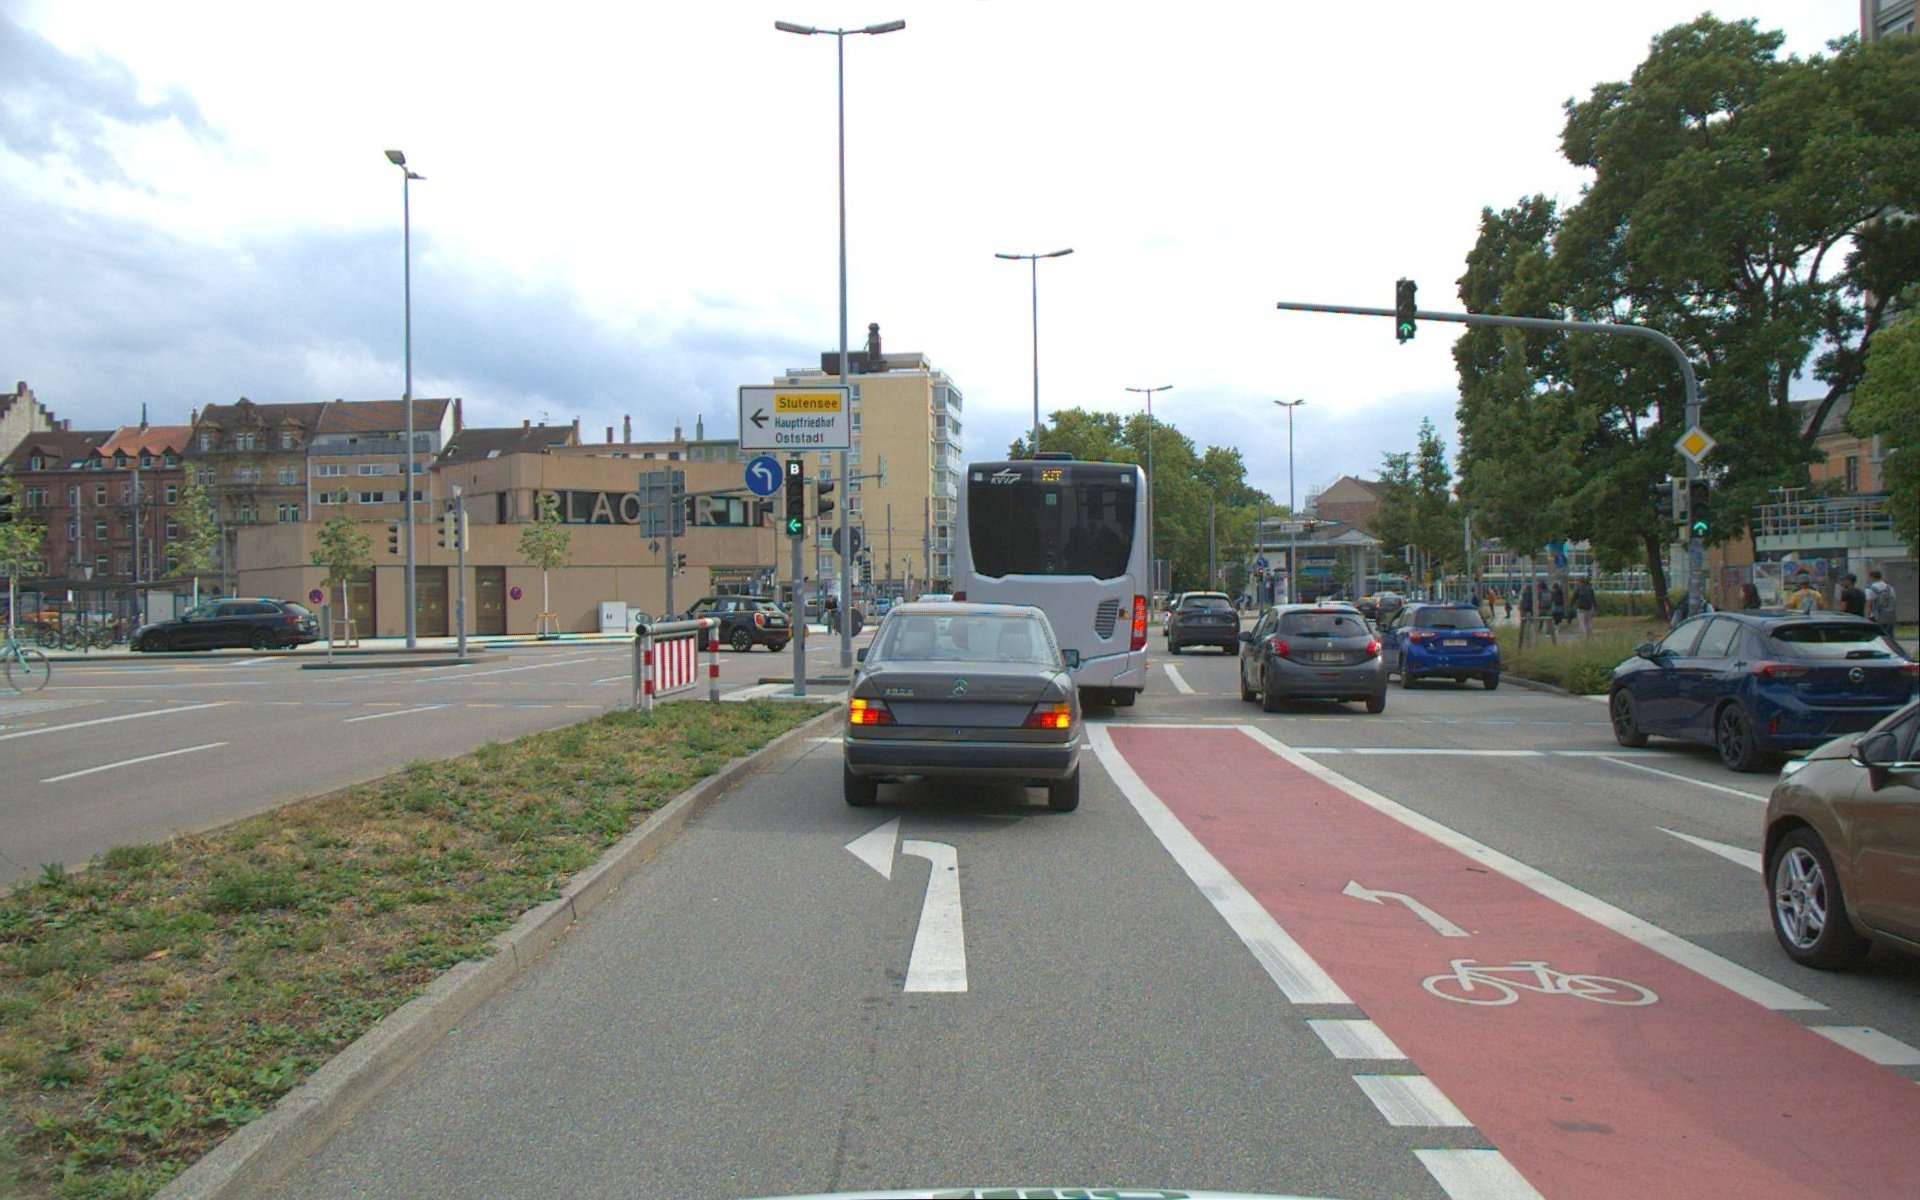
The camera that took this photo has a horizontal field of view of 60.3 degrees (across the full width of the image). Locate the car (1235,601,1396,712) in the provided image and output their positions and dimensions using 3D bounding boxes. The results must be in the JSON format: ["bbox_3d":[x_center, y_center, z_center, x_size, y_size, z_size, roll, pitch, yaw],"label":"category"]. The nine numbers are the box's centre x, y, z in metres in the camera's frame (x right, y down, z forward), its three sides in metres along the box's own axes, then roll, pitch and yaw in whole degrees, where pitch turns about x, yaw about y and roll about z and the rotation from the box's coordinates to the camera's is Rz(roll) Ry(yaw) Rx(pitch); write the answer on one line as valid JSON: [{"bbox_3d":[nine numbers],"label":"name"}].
[{"bbox_3d":[5.048,0.761,23.929,1.675,1.445,4.002,1,0,3],"label":"car"}]

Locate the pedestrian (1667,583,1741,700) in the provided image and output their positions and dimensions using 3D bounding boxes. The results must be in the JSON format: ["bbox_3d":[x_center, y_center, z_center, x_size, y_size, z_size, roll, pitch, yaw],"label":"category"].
[{"bbox_3d":[11.320,0.619,25.189,0.780,1.741,0.840,1,-1,4],"label":"pedestrian"}]

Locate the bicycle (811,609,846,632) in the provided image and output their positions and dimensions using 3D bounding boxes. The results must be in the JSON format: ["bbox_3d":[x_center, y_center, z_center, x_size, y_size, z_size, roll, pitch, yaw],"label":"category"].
[{"bbox_3d":[-5.151,0.799,64.994,0.844,0.892,2.521,1,0,8],"label":"bicycle"}]

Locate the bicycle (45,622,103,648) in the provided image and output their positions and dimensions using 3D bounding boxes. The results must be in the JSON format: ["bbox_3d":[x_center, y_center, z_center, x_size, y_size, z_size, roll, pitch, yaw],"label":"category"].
[{"bbox_3d":[-35.382,1.392,66.043,1.949,0.987,0.575,1,-1,-42],"label":"bicycle"}]

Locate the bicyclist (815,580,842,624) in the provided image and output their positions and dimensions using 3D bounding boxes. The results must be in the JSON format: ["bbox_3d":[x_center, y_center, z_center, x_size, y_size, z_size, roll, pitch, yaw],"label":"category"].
[{"bbox_3d":[-5.146,0.084,64.807,0.848,1.698,0.882,1,-1,8],"label":"bicyclist"}]

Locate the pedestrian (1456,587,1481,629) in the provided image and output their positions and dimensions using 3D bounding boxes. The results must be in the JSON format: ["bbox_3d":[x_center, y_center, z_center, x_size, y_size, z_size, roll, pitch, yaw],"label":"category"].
[{"bbox_3d":[19.445,0.304,63.207,0.762,1.601,0.812,-2,-1,25],"label":"pedestrian"}]

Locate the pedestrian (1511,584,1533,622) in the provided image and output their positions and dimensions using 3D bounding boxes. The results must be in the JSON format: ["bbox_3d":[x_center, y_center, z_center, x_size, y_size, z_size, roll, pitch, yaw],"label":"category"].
[{"bbox_3d":[24.063,0.128,70.845,0.762,1.601,0.812,-2,-1,25],"label":"pedestrian"}]

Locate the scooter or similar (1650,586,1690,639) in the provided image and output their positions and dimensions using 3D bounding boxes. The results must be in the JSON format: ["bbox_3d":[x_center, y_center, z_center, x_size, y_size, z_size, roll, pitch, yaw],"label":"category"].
[{"bbox_3d":[19.049,0.337,44.395,0.390,1.394,1.145,1,0,-10],"label":"scooter or similar"}]

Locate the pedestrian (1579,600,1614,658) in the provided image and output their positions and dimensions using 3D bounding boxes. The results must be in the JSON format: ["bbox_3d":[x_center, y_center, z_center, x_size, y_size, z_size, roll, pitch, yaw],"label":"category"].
[{"bbox_3d":[19.192,0.875,49.894,0.761,1.741,0.812,1,-1,2],"label":"pedestrian"}]

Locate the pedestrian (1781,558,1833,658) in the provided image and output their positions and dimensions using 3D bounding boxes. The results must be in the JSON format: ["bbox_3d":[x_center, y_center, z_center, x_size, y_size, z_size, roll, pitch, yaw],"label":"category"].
[{"bbox_3d":[16.272,0.156,31.786,0.624,1.885,0.708,-1,-1,2],"label":"pedestrian"}]

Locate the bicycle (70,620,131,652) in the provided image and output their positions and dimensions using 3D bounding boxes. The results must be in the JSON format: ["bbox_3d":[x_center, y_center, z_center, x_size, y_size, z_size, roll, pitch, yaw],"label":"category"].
[{"bbox_3d":[-32.255,1.335,62.082,0.574,1.176,1.954,0,-1,42],"label":"bicycle"}]

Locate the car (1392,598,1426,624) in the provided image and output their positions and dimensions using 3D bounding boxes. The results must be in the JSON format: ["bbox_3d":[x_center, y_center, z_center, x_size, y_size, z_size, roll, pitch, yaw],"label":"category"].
[{"bbox_3d":[26.236,0.630,96.589,1.668,1.445,3.701,1,0,19],"label":"car"}]

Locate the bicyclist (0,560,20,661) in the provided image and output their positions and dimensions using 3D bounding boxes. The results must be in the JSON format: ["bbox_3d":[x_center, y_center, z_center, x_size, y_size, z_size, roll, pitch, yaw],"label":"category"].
[{"bbox_3d":[-15.407,0.170,26.159,0.570,1.583,0.793,-2,-3,42],"label":"bicyclist"}]

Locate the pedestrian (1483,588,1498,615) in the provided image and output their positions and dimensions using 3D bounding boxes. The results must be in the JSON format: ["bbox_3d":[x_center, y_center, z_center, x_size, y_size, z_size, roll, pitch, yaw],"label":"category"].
[{"bbox_3d":[32.718,0.080,102.013,0.762,1.601,0.812,-2,-1,25],"label":"pedestrian"}]

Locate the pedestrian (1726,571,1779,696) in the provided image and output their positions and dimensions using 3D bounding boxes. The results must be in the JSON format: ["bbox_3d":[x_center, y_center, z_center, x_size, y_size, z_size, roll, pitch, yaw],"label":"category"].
[{"bbox_3d":[11.193,0.466,23.367,0.469,1.741,0.588,1,-1,4],"label":"pedestrian"}]

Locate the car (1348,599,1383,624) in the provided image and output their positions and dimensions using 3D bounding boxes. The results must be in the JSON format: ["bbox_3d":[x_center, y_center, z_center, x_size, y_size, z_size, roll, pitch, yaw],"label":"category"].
[{"bbox_3d":[24.331,0.669,99.107,1.675,1.445,4.001,1,0,19],"label":"car"}]

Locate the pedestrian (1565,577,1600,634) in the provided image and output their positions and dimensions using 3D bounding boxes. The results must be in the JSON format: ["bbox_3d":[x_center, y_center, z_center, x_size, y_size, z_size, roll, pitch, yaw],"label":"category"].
[{"bbox_3d":[19.413,0.178,51.593,0.761,1.741,0.812,1,-1,2],"label":"pedestrian"}]

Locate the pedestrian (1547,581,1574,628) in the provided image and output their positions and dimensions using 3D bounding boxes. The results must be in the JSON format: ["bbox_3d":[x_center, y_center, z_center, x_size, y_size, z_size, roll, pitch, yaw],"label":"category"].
[{"bbox_3d":[21.001,0.164,57.883,0.762,1.601,0.812,-2,-1,25],"label":"pedestrian"}]

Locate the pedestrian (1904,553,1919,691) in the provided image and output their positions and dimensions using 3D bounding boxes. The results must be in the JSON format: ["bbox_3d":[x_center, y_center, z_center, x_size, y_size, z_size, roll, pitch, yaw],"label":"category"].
[{"bbox_3d":[12.532,0.285,20.979,0.717,1.741,0.693,1,-1,2],"label":"pedestrian"}]

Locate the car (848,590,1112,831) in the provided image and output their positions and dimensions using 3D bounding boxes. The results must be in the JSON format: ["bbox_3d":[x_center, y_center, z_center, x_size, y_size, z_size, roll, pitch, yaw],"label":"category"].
[{"bbox_3d":[0.097,0.715,12.732,1.661,1.506,4.415,1,0,-1],"label":"car"}]

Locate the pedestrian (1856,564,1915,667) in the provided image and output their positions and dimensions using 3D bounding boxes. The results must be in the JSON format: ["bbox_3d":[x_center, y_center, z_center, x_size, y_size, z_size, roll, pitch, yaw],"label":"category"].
[{"bbox_3d":[15.983,0.266,28.577,0.624,1.741,0.708,-1,-1,2],"label":"pedestrian"}]

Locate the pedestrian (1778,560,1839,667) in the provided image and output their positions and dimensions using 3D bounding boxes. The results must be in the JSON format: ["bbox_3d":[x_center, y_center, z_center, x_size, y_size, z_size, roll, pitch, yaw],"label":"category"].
[{"bbox_3d":[14.109,0.229,27.509,0.624,1.741,0.708,-2,-1,2],"label":"pedestrian"}]

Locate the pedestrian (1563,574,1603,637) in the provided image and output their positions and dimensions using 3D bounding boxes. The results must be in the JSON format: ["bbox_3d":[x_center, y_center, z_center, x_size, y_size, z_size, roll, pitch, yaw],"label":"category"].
[{"bbox_3d":[17.672,0.153,46.945,0.761,1.741,1.028,1,0,2],"label":"pedestrian"}]

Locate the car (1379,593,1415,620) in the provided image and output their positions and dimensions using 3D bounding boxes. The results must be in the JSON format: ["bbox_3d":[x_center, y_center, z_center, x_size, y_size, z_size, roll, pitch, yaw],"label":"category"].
[{"bbox_3d":[23.735,0.362,89.769,1.668,1.445,3.701,1,0,19],"label":"car"}]

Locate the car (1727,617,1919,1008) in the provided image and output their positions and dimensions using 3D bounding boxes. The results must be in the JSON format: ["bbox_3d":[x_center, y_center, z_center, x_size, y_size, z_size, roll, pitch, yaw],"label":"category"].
[{"bbox_3d":[4.372,0.797,5.735,1.661,1.429,3.699,1,0,-1],"label":"car"}]

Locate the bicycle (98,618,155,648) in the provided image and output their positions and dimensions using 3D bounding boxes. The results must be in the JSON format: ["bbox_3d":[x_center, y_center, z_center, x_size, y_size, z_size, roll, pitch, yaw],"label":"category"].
[{"bbox_3d":[-33.440,1.332,66.403,0.574,1.176,1.954,0,-1,42],"label":"bicycle"}]

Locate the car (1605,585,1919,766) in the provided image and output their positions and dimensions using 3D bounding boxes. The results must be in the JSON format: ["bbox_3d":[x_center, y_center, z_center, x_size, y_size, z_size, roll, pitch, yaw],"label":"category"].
[{"bbox_3d":[7.781,0.656,16.016,1.632,1.534,3.634,1,0,0],"label":"car"}]

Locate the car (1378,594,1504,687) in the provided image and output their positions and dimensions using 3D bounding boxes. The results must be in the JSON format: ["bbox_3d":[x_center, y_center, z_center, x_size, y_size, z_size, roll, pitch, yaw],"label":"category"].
[{"bbox_3d":[8.756,0.699,30.365,1.818,1.559,4.005,1,0,11],"label":"car"}]

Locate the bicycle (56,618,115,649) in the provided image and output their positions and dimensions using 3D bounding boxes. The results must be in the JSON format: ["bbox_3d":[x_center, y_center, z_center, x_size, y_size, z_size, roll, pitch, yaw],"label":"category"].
[{"bbox_3d":[-33.960,1.314,64.238,0.574,1.176,1.954,0,-1,42],"label":"bicycle"}]

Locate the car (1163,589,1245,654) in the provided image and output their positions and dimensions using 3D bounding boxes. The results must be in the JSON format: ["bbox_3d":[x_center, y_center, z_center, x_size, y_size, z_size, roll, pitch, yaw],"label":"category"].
[{"bbox_3d":[6.604,0.570,45.002,1.796,1.643,3.547,1,0,2],"label":"car"}]

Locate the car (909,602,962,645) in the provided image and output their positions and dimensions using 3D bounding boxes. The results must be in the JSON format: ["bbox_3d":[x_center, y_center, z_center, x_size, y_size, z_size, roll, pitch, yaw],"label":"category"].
[{"bbox_3d":[-0.977,0.965,68.293,1.952,1.680,4.291,1,0,2],"label":"car"}]

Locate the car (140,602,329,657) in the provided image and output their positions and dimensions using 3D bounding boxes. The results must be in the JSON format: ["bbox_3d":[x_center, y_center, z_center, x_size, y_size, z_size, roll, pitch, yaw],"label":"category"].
[{"bbox_3d":[-19.540,0.791,44.686,4.175,1.385,1.999,1,0,-3],"label":"car"}]

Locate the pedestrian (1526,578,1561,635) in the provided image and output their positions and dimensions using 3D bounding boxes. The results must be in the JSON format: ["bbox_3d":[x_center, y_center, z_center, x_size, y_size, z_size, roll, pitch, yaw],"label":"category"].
[{"bbox_3d":[18.286,0.202,51.836,0.761,1.741,1.028,1,0,2],"label":"pedestrian"}]

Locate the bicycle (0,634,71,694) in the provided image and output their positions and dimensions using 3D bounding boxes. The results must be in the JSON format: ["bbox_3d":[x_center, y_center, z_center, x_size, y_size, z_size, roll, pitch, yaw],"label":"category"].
[{"bbox_3d":[-15.251,1.014,26.259,0.497,0.952,1.959,-2,-3,42],"label":"bicycle"}]

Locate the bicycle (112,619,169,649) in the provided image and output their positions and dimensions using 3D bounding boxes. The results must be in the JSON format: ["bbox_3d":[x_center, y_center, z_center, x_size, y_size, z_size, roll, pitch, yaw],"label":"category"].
[{"bbox_3d":[-32.408,1.346,65.411,0.574,1.176,1.954,0,-1,42],"label":"bicycle"}]

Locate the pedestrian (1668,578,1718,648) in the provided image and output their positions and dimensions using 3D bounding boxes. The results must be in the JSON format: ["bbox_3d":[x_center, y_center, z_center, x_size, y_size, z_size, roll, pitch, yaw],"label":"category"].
[{"bbox_3d":[17.163,0.305,38.742,0.762,1.601,0.812,-2,-1,2],"label":"pedestrian"}]

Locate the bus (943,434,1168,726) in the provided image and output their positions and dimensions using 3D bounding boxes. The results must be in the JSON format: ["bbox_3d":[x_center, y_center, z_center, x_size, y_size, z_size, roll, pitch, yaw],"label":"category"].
[{"bbox_3d":[1.754,-0.237,27.420,2.647,3.498,14.192,-2,0,5],"label":"bus"}]

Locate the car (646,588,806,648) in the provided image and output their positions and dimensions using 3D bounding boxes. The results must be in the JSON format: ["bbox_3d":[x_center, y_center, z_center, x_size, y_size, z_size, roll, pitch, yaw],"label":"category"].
[{"bbox_3d":[-6.250,0.459,44.068,3.918,1.512,1.993,1,0,34],"label":"car"}]

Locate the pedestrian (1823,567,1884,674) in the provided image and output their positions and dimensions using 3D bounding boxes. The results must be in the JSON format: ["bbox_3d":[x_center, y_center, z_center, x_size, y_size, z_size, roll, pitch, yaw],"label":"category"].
[{"bbox_3d":[14.838,0.339,27.473,0.624,1.741,0.708,1,-1,2],"label":"pedestrian"}]

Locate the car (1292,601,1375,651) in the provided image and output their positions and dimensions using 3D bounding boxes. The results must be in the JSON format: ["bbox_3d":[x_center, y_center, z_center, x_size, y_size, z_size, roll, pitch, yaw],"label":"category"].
[{"bbox_3d":[11.478,0.778,50.711,2.088,1.445,3.701,1,0,19],"label":"car"}]

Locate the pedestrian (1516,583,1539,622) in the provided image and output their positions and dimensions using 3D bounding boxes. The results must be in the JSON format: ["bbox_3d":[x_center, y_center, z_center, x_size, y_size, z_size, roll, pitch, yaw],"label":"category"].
[{"bbox_3d":[23.732,0.099,69.174,0.762,1.601,0.812,-2,-1,25],"label":"pedestrian"}]
